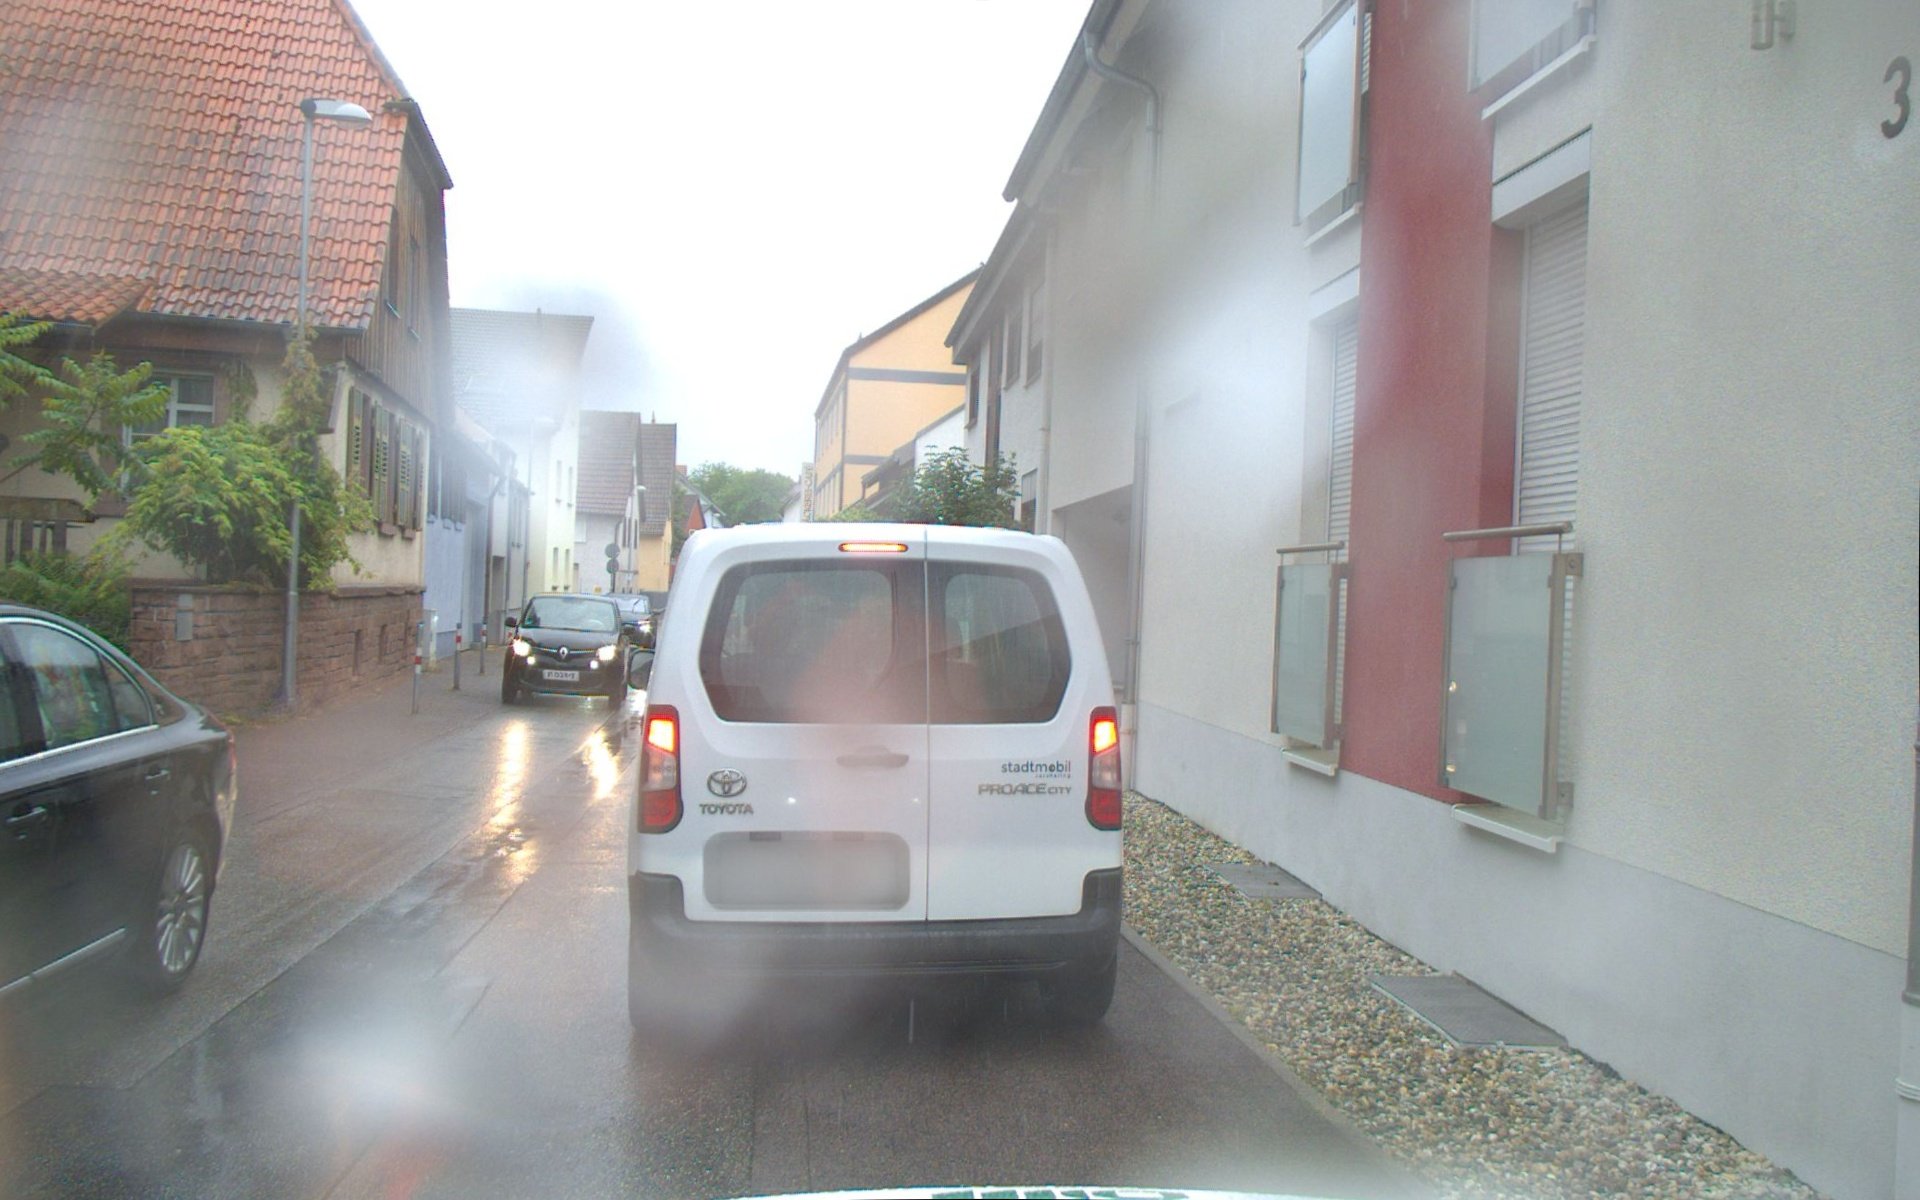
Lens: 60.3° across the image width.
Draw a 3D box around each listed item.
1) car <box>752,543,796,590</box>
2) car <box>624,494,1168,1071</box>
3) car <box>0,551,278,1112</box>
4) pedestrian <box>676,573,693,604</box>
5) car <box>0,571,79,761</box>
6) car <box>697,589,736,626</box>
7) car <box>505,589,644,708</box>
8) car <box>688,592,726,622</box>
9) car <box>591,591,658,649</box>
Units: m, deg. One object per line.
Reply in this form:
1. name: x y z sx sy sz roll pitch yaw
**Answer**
1. car: -8.547 -1.500 76.222 1.955 2.049 3.995 1 0 -6
2. car: -0.491 0.591 7.319 1.742 1.811 3.991 1 0 -9
3. car: -3.414 0.585 4.459 1.663 1.535 4.336 4 0 -6
4. pedestrian: -17.799 -0.737 106.725 1.031 1.926 0.875 1 -1 -9
5. car: -9.398 0.310 12.949 3.908 1.450 1.735 7 -1 -1
6. car: -10.441 0.305 70.732 1.532 1.503 3.990 1 0 -10
7. car: -5.509 0.651 23.995 1.574 1.539 3.681 2 0 -8
8. car: -12.414 0.328 80.952 1.747 1.419 3.990 1 0 -10
9. car: -10.009 0.572 49.556 1.799 1.583 4.229 2 0 -10
